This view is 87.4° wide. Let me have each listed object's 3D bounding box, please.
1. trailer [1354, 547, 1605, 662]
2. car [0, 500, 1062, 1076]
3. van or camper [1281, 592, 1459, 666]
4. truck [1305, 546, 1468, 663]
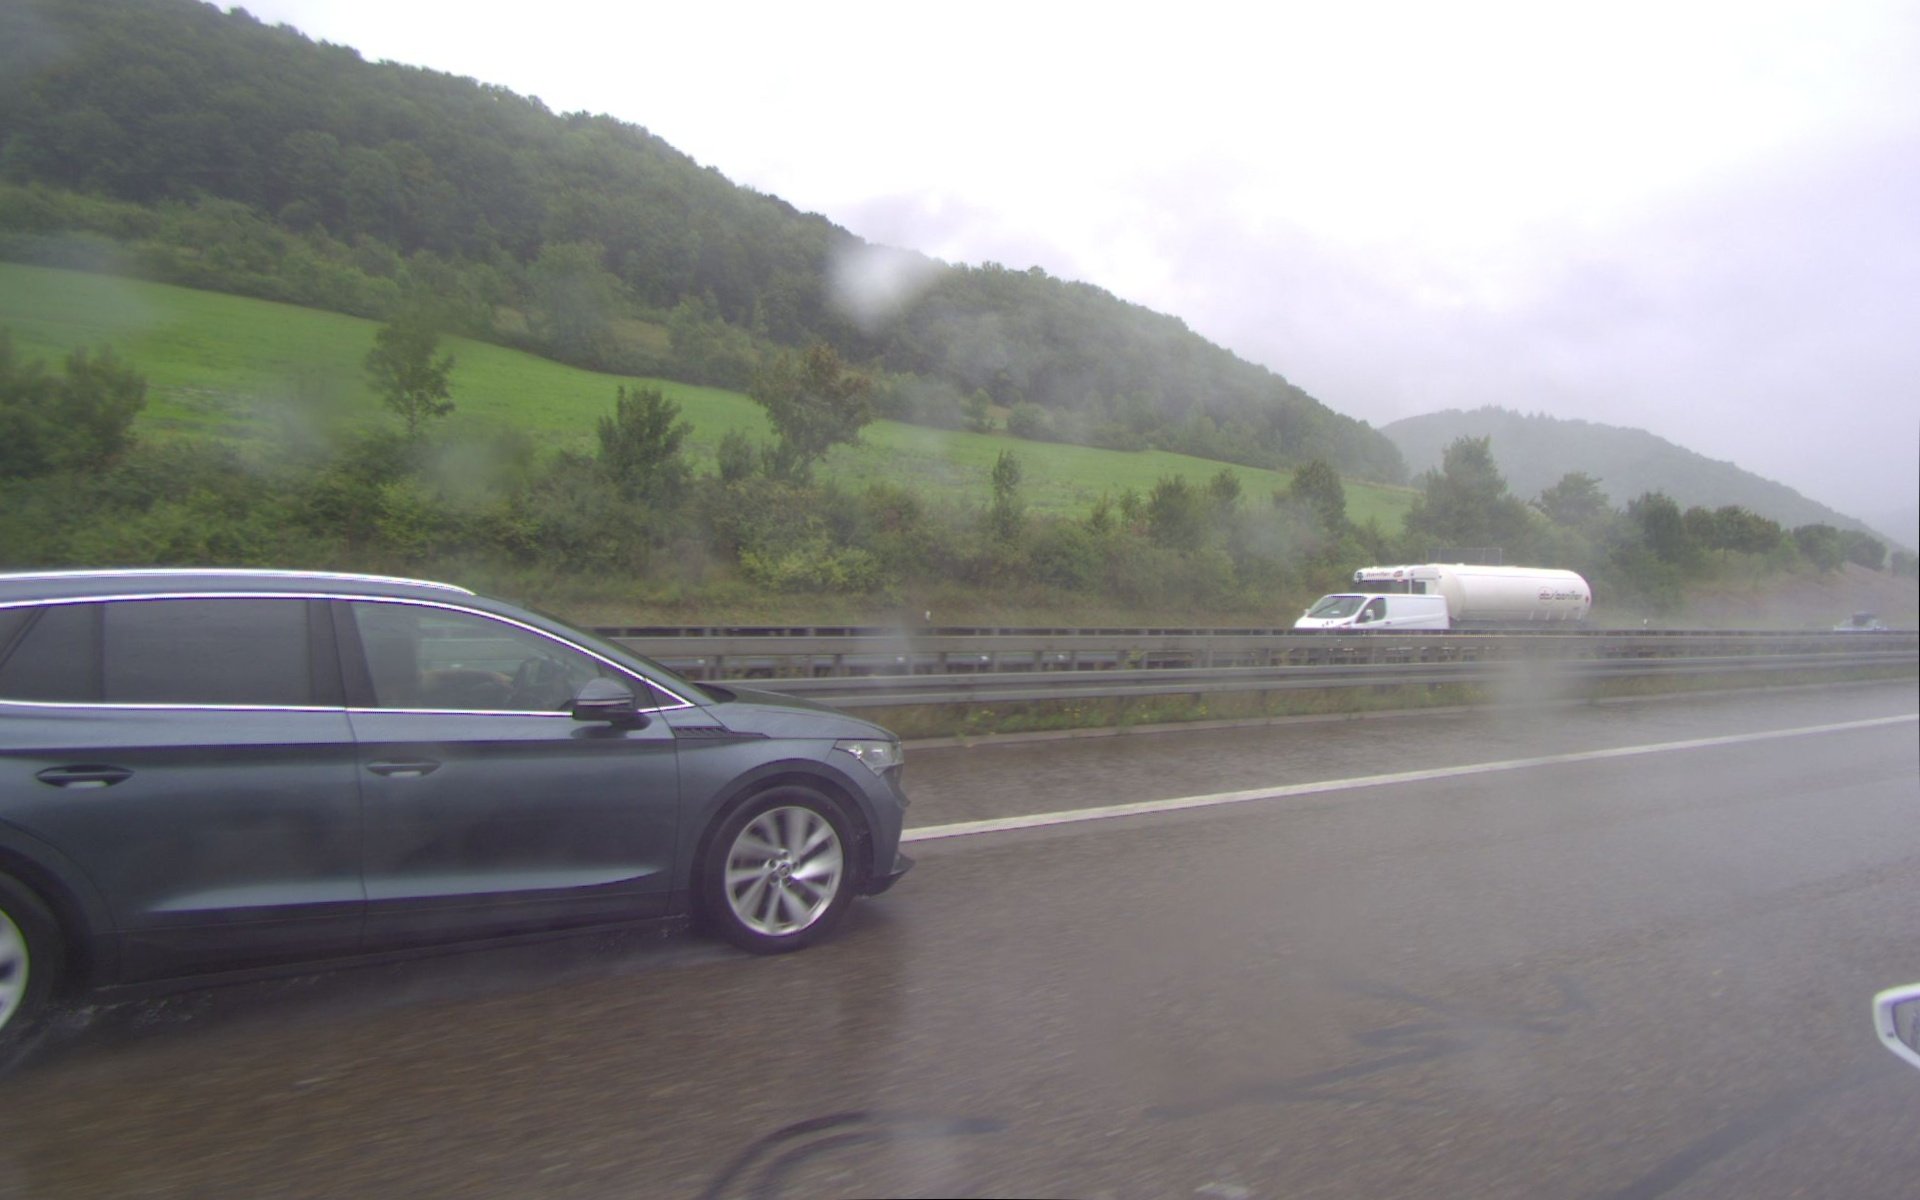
[{"bbox_3d":[20.579,0.267,39.278,12.430,3.954,2.917,1,0,-33],"label":"trailer"},{"bbox_3d":[-2.099,0.625,4.547,4.850,1.705,1.985,2,-2,-29],"label":"car"},{"bbox_3d":[11.609,0.800,28.301,5.287,1.903,1.982,1,-1,-32],"label":"van or camper"},{"bbox_3d":[15.223,0.196,35.805,5.258,3.852,2.867,1,0,-33],"label":"truck"}]
